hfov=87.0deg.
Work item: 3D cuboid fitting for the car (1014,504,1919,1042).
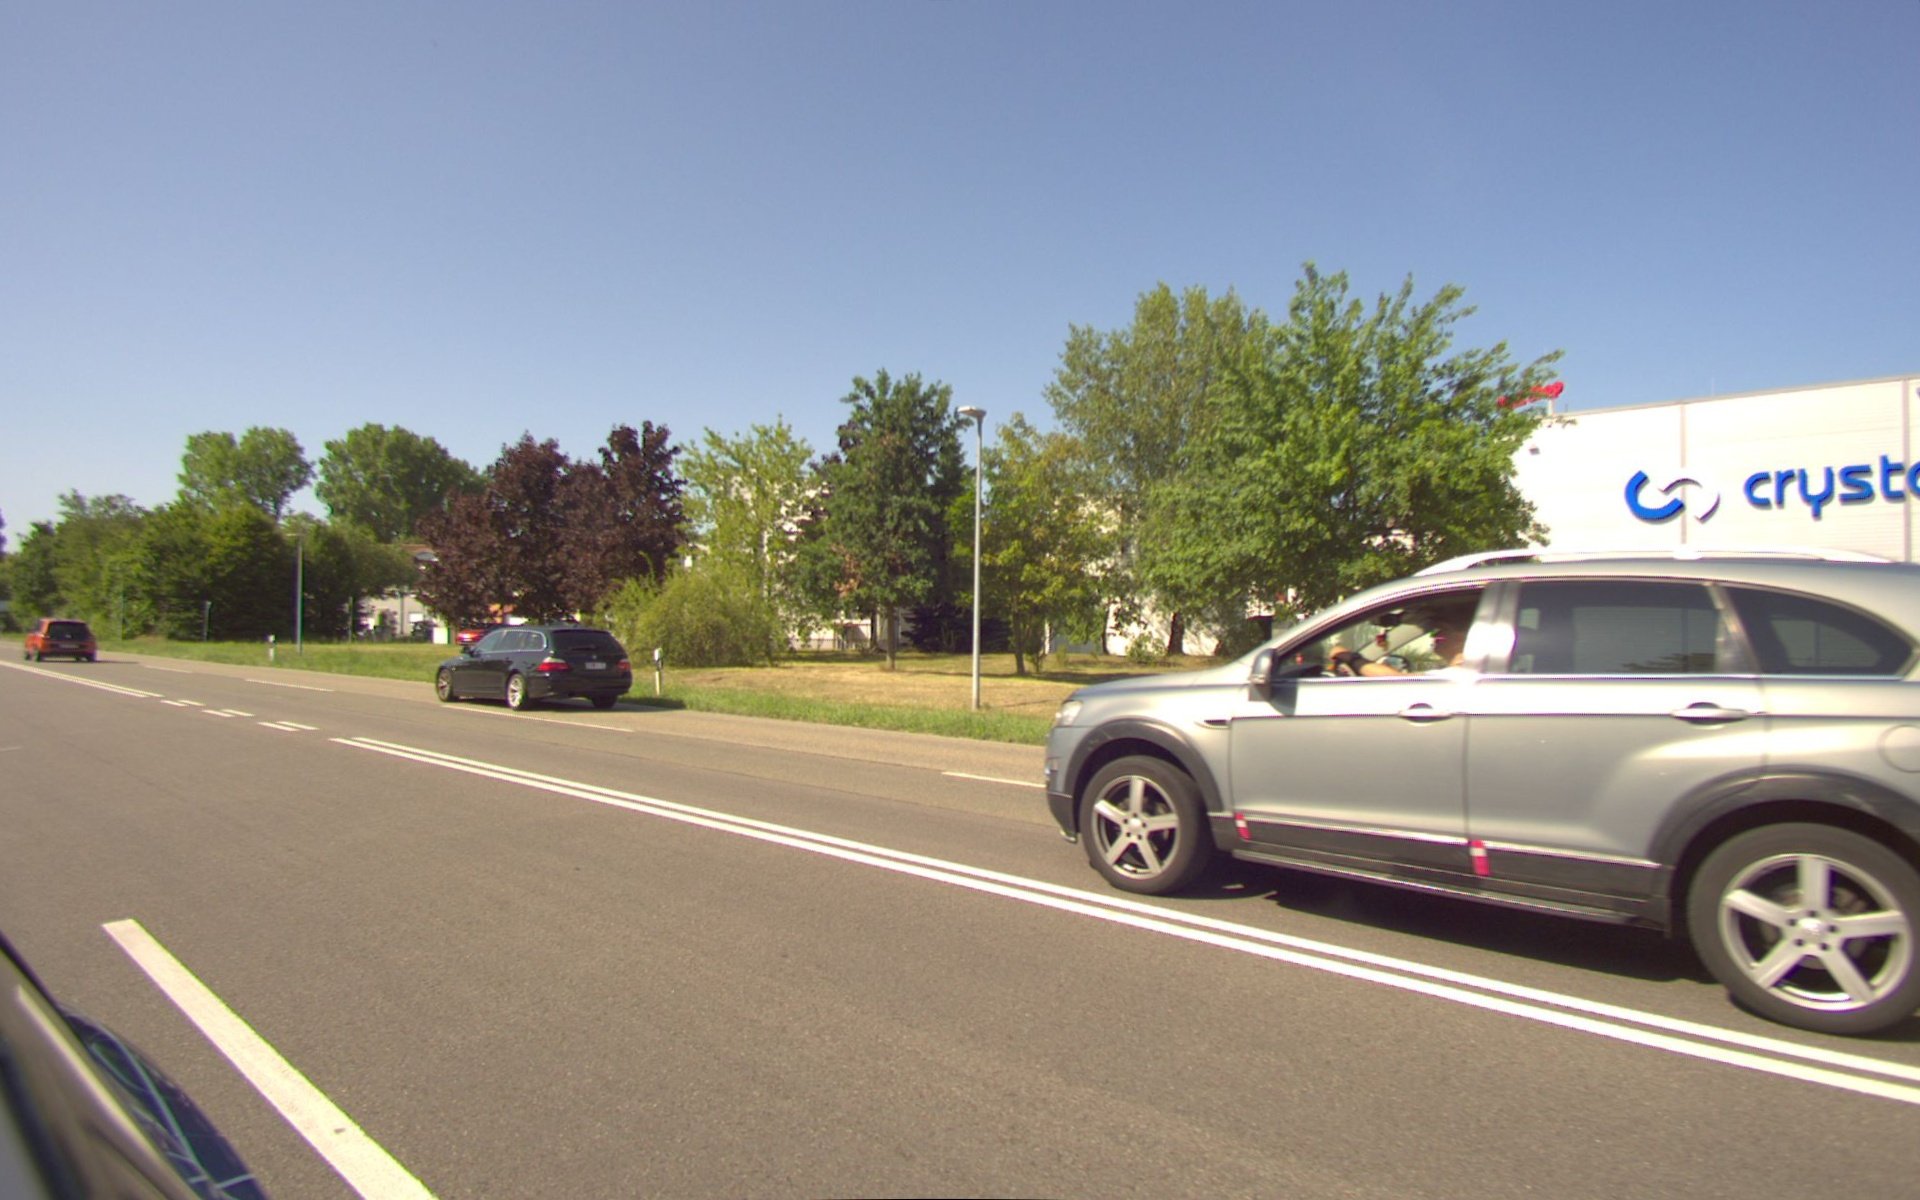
[{"bbox_3d":[2.621,0.623,4.793,4.565,1.727,1.754,-1,-4,39],"label":"car"}]

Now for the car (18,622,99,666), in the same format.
[{"bbox_3d":[-32.665,1.581,36.642,3.842,1.509,1.633,-1,-5,41],"label":"car"}]

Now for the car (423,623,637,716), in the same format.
[{"bbox_3d":[-7.967,1.203,18.536,4.737,1.492,1.635,-1,-4,41],"label":"car"}]

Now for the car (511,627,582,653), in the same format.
[{"bbox_3d":[-23.232,2.279,57.004,1.803,1.381,3.986,-1,-3,11],"label":"car"}]

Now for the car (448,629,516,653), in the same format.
[{"bbox_3d":[-29.522,2.557,62.630,1.803,1.381,3.986,-1,-3,11],"label":"car"}]

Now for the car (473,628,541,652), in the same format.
[{"bbox_3d":[-27.215,2.448,60.925,1.803,1.381,3.986,-1,-3,11],"label":"car"}]
